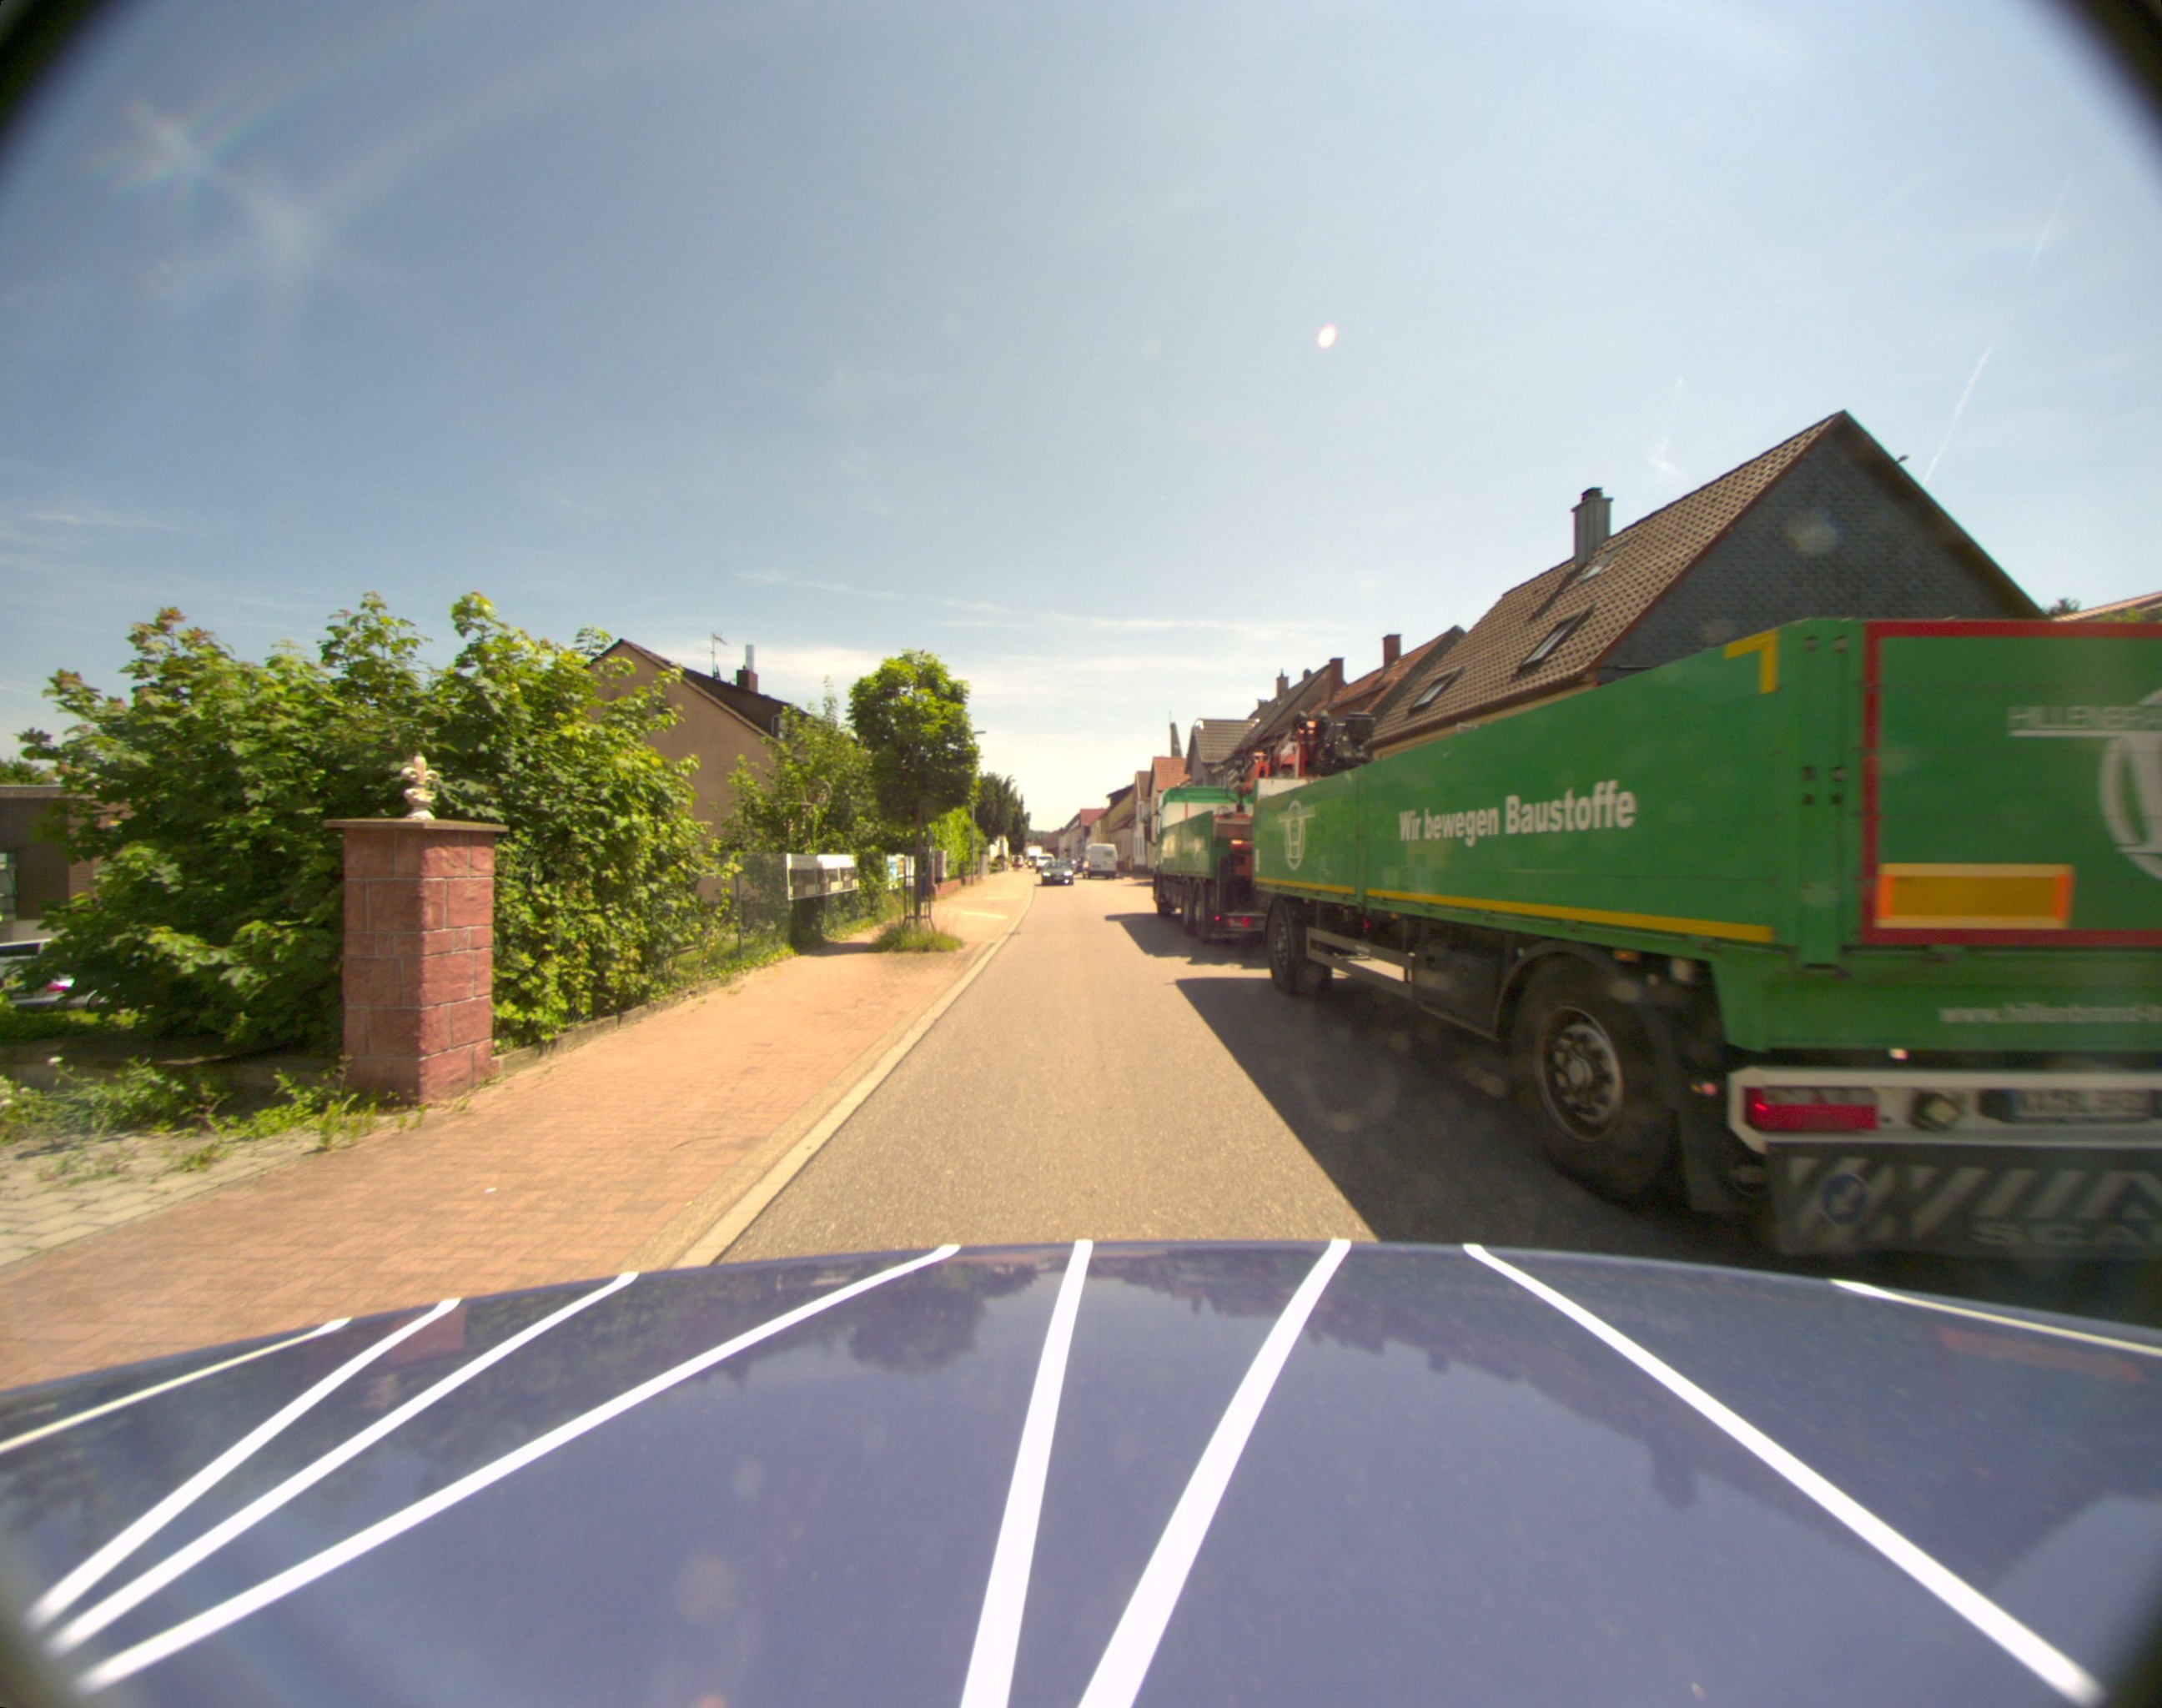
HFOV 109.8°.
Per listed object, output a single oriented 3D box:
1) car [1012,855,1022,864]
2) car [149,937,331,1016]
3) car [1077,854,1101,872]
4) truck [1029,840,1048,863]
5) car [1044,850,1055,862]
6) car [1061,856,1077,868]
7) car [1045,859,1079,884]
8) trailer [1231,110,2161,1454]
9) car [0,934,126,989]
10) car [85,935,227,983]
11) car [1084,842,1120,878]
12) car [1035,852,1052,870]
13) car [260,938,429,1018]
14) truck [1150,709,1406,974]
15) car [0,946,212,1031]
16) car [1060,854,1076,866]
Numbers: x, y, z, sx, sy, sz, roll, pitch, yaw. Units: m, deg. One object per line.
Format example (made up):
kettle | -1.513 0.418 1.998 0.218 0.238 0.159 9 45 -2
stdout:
car | -10.817 0.921 129.437 1.637 1.572 3.568 1 0 -4
car | -23.802 3.408 21.679 1.326 1.465 3.290 -7 2 -1
car | 0.669 0.768 66.753 1.650 1.445 4.399 -3 0 -5
truck | -7.194 -0.376 126.677 2.899 3.516 12.948 -1 0 -4
car | -6.903 0.430 166.814 2.116 2.517 4.912 1 0 -6
car | -1.750 1.089 107.852 1.879 1.593 4.429 1 0 -5
car | -1.139 0.974 43.685 1.706 1.346 3.998 -2 0 -4
trailer | 3.373 -0.178 6.297 2.536 3.627 8.461 0 0 0
car | -43.987 4.609 32.501 3.997 1.817 1.715 -5 1 1
car | -39.146 4.420 32.282 1.550 1.433 3.534 -3 1 3
car | 1.475 0.414 55.674 2.035 2.446 6.066 1 0 -3
car | -3.821 0.679 77.414 1.637 1.833 3.568 -1 0 -3
car | -20.433 3.387 21.275 1.326 1.465 3.290 -7 2 -1
truck | 3.201 -0.169 15.632 2.573 3.679 10.077 0 0 0
car | -26.471 3.588 20.783 1.326 1.465 3.381 -7 2 -1
car | -1.596 0.710 93.322 1.681 1.450 3.926 1 0 -5
